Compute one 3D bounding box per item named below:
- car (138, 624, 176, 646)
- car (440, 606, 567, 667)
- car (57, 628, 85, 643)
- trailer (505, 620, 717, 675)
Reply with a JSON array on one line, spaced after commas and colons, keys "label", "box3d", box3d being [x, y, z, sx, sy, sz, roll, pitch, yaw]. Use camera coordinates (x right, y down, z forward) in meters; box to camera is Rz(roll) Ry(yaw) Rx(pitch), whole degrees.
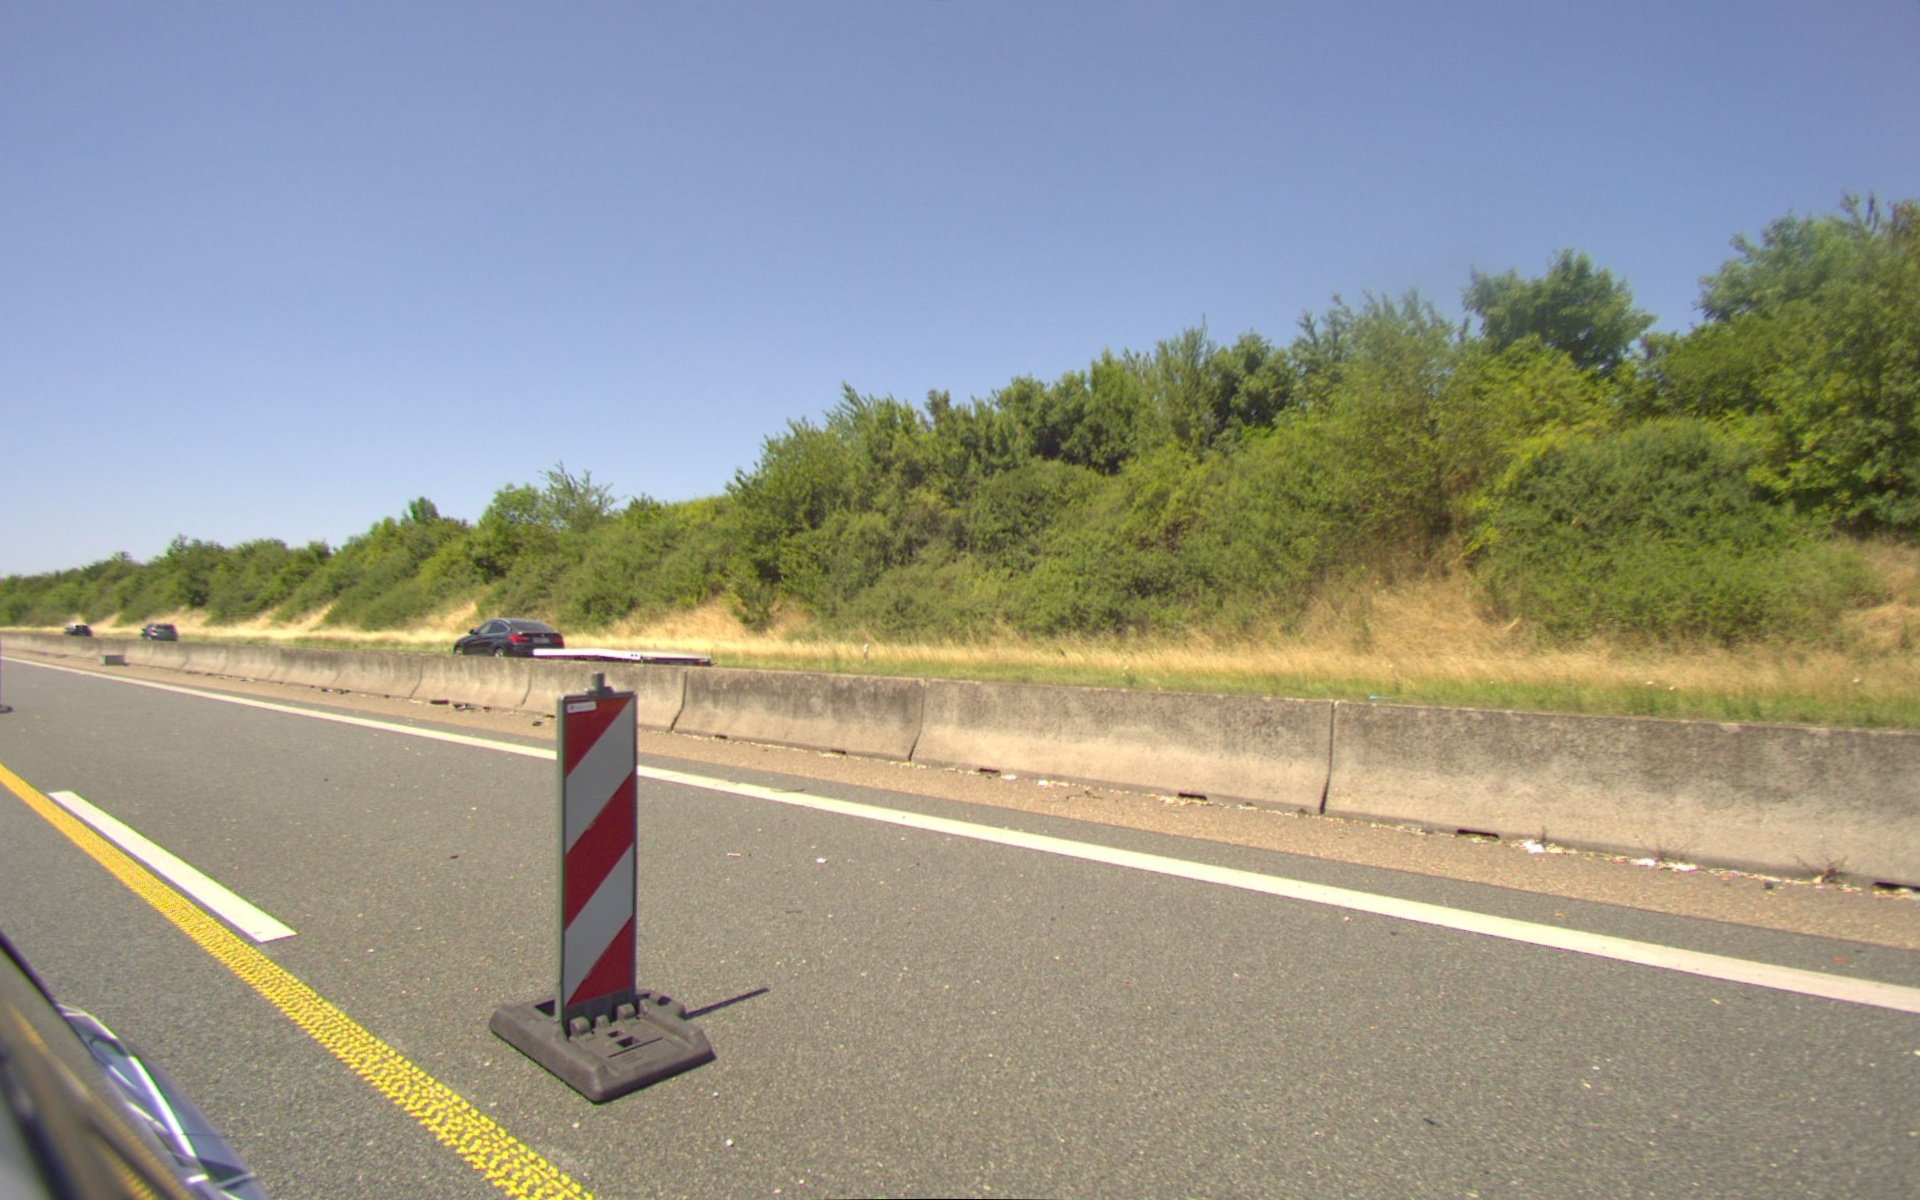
[{"label": "car", "box3d": [-60.587, 2.619, 76.308, 3.997, 1.560, 1.484, -1, -2, 40]}, {"label": "car", "box3d": [-14.535, 1.113, 32.120, 4.562, 1.767, 1.894, -1, 0, 41]}, {"label": "car", "box3d": [-85.363, 3.387, 97.179, 3.777, 1.475, 1.557, -1, -2, 41]}, {"label": "trailer", "box3d": [-9.913, 1.246, 28.287, 7.212, 1.354, 2.332, -1, -2, 41]}]
